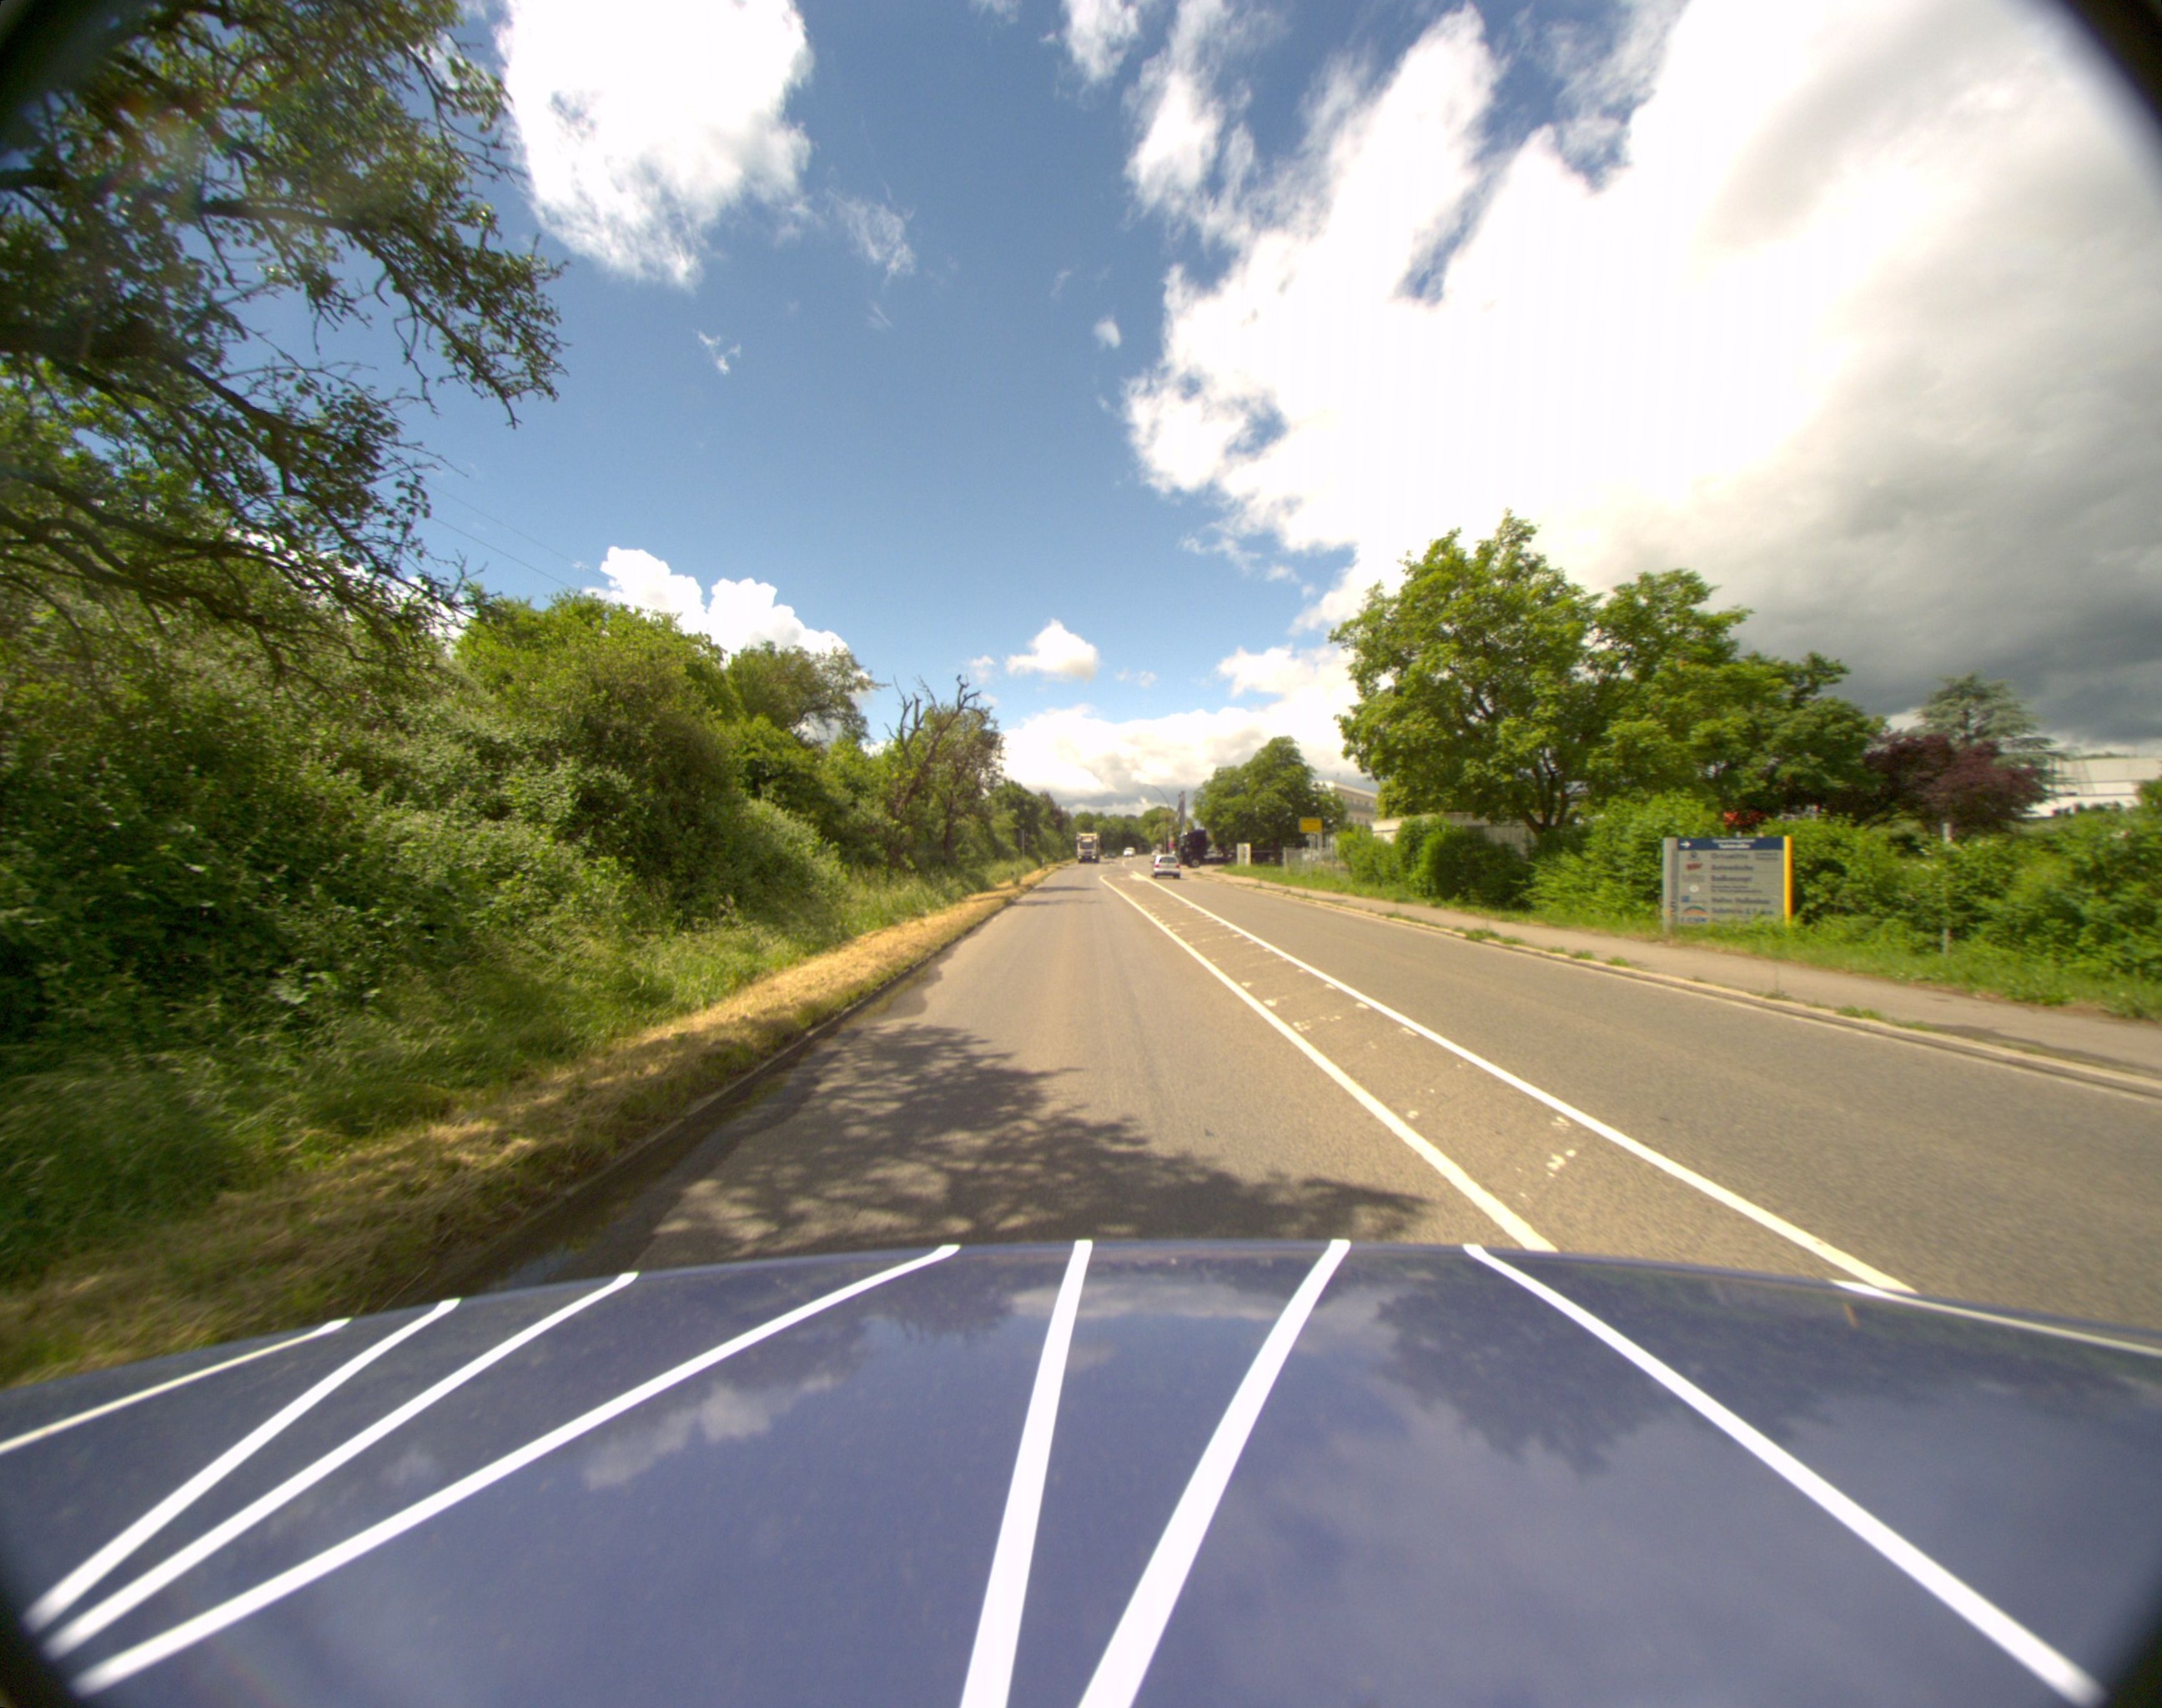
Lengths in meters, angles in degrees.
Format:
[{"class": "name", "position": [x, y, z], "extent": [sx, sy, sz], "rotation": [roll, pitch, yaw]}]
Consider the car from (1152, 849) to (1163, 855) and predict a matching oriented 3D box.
[{"class": "car", "position": [16.919, -0.435, 168.151], "extent": [1.996, 1.442, 4.430], "rotation": [1, 1, 12]}]

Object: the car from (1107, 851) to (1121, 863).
[{"class": "car", "position": [5.960, 0.524, 136.358], "extent": [1.952, 2.002, 4.003], "rotation": [0, 1, 11]}]

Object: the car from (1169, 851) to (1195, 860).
[{"class": "car", "position": [16.552, 0.200, 124.983], "extent": [3.943, 1.485, 1.808], "rotation": [1, 1, 44]}]

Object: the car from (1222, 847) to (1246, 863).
[{"class": "car", "position": [16.738, 0.119, 83.153], "extent": [1.935, 1.711, 4.601], "rotation": [-1, 0, 3]}]

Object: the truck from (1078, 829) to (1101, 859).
[{"class": "truck", "position": [1.162, -1.339, 100.325], "extent": [2.904, 3.746, 9.634], "rotation": [0, 1, 1]}]

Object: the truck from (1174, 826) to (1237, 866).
[{"class": "truck", "position": [12.233, -0.803, 74.972], "extent": [5.570, 3.802, 2.983], "rotation": [0, 1, -3]}]

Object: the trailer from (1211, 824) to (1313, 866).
[{"class": "trailer", "position": [18.081, -0.891, 76.085], "extent": [9.472, 4.060, 3.315], "rotation": [0, 1, -14]}]

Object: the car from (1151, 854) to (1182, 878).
[{"class": "car", "position": [5.189, 0.716, 46.480], "extent": [1.664, 1.423, 3.693], "rotation": [1, 0, 3]}]

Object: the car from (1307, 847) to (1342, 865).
[{"class": "car", "position": [25.672, 0.172, 79.948], "extent": [1.952, 1.865, 4.126], "rotation": [0, 1, 43]}]

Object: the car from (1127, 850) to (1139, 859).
[{"class": "car", "position": [10.995, 0.117, 160.881], "extent": [1.952, 2.002, 4.004], "rotation": [0, 1, 15]}]
